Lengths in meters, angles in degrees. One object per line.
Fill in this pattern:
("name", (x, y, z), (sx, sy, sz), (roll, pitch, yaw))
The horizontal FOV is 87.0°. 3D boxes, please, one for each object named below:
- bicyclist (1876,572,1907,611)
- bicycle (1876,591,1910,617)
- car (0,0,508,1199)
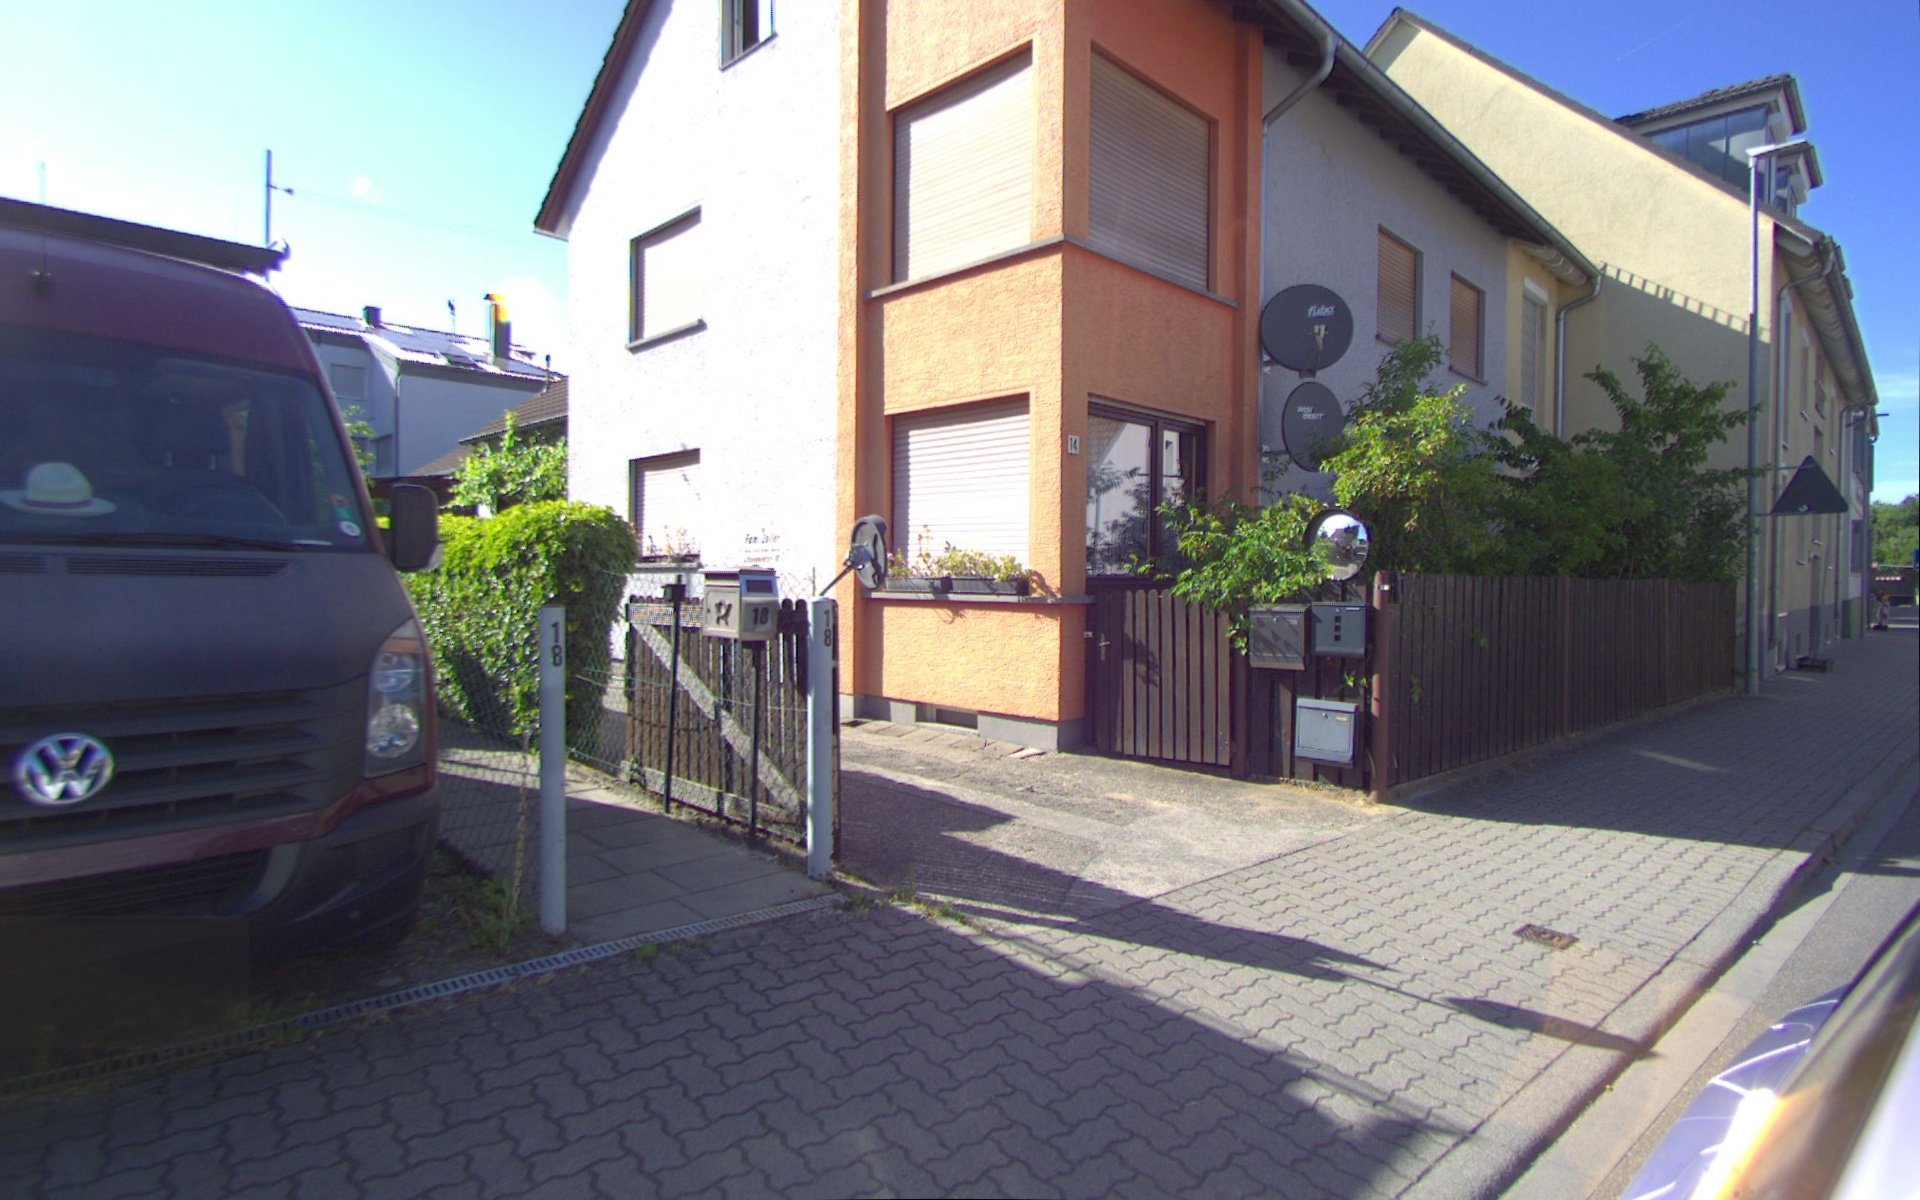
("bicyclist", (58.013, -0.532, 63.033), (1.250, 2.337, 1.226), (-2, -1, 37))
("bicycle", (57.996, 0.240, 62.955), (1.251, 1.571, 3.944), (-2, -1, 39))
("car", (-4.019, -0.142, 4.274), (1.936, 2.687, 5.808), (-1, 4, -45))
